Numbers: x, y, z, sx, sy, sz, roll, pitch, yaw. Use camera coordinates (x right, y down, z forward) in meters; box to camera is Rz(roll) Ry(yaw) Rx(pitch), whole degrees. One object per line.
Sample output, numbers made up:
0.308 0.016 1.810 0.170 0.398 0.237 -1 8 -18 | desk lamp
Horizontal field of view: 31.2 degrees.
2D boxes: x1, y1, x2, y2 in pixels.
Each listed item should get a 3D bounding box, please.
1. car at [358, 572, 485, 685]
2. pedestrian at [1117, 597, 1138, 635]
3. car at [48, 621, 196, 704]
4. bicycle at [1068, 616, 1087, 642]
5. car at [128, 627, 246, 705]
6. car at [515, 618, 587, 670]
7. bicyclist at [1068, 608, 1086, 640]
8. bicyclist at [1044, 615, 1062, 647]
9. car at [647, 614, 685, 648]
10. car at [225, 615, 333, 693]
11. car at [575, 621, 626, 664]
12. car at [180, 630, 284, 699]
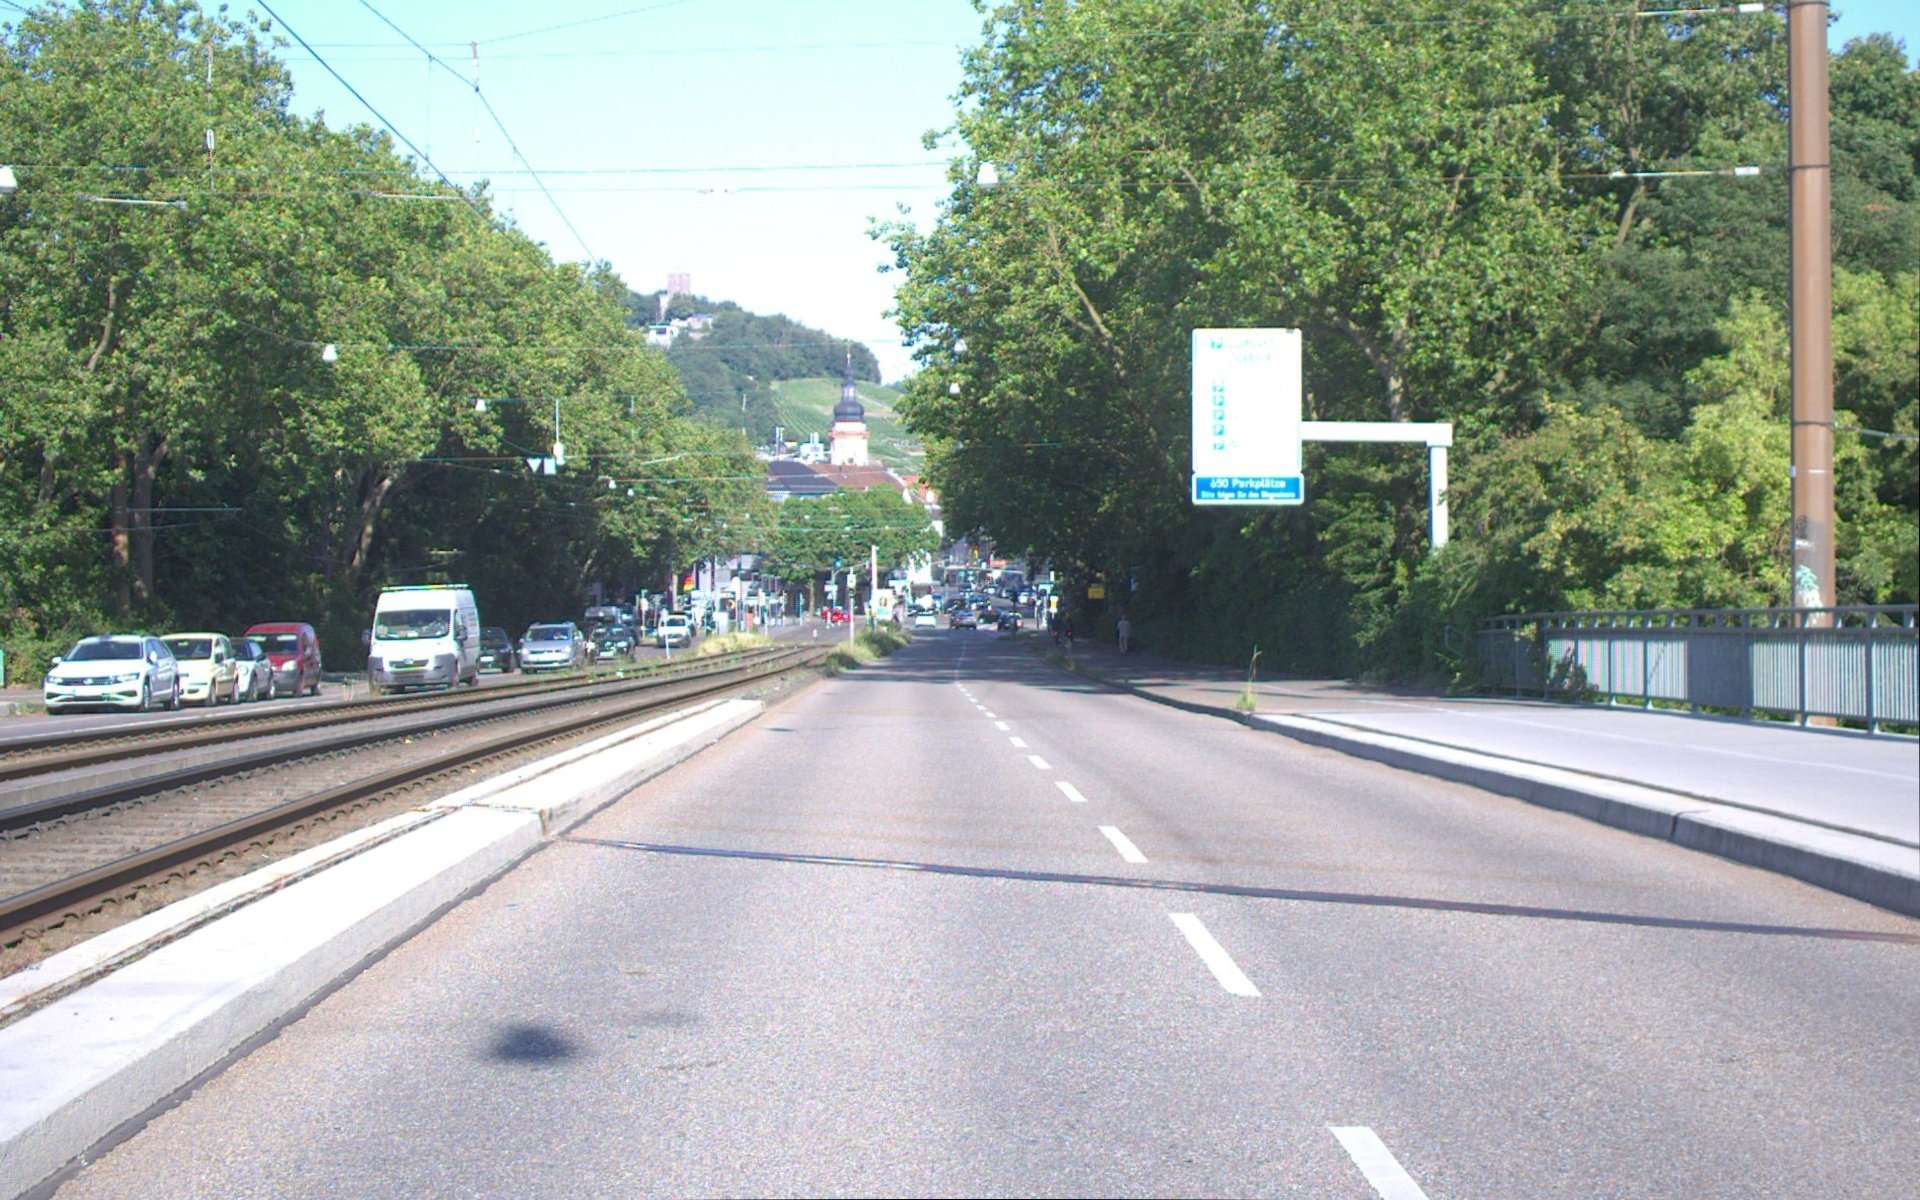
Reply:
-12.826 0.654 82.174 2.086 2.584 6.041 1 0 0 | car
6.848 0.662 140.614 0.804 1.540 0.814 -1 -1 3 | pedestrian
-15.797 1.153 65.042 1.741 1.459 4.956 0 0 -2 | car
6.141 1.516 179.571 0.887 1.317 2.639 -1 0 0 | bicycle
-15.910 1.336 70.908 1.633 1.526 3.790 0 0 -1 | car
-13.758 1.465 115.856 1.873 1.660 4.597 -1 0 0 | car
6.137 1.256 179.768 0.887 1.633 1.164 -1 -1 0 | bicyclist
5.123 1.714 189.660 0.887 1.769 1.222 -1 -1 -1 | bicyclist
-17.316 1.801 202.821 1.993 1.838 5.302 -2 0 -3 | car
-16.139 1.259 81.667 1.741 1.748 4.684 0 0 -1 | car
-14.728 1.733 140.861 1.741 1.618 4.395 -2 0 -3 | car
-16.120 1.404 76.285 1.633 1.446 4.002 0 0 -3 | car
